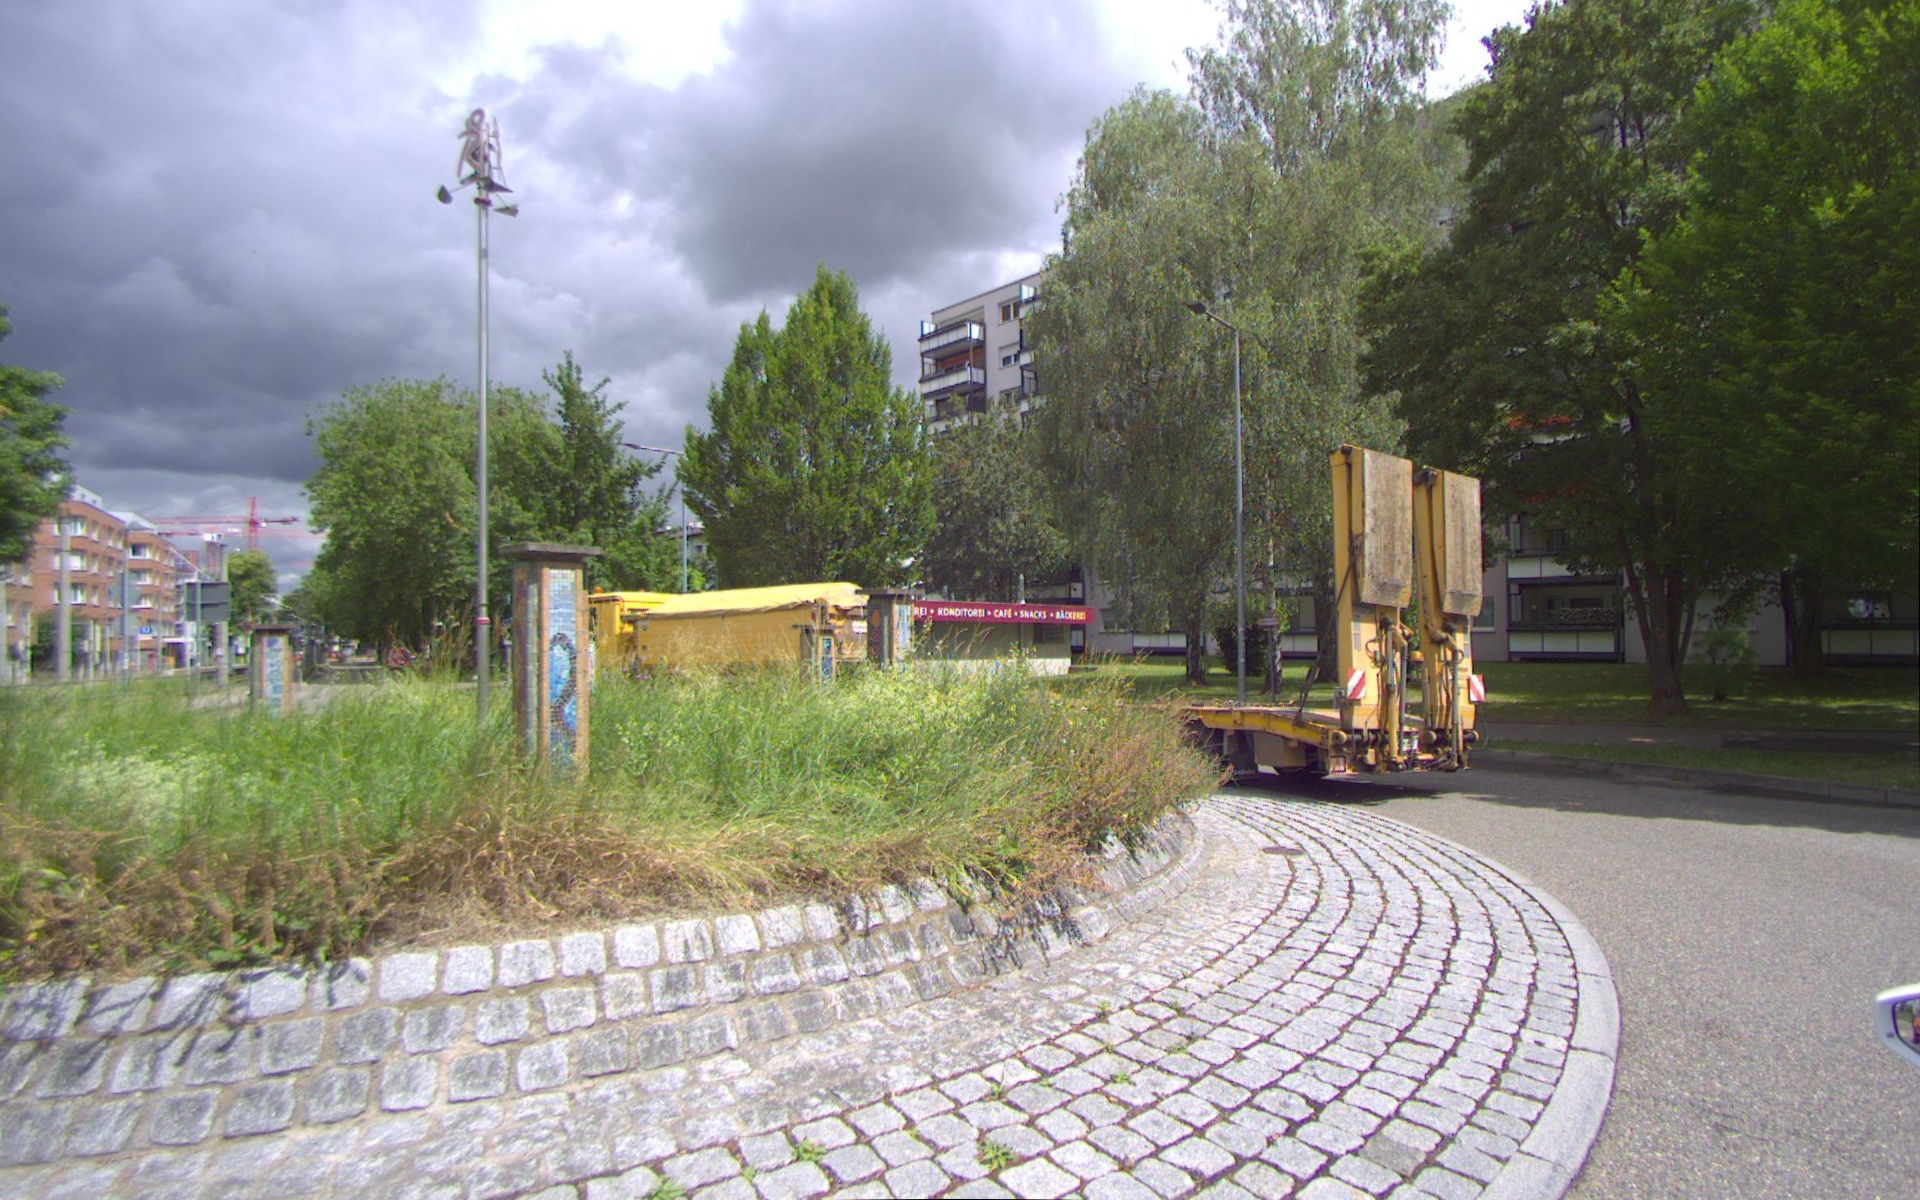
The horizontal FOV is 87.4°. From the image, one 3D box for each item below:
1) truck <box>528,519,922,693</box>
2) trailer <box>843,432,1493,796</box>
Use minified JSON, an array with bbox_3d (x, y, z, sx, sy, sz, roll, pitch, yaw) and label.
[{"bbox_3d":[-5.112,0.239,21.140,8.336,3.074,2.992,-2,-2,31],"label":"truck"},{"bbox_3d":[1.829,0.217,14.783,2.841,3.417,10.749,1,-1,-31],"label":"trailer"}]
